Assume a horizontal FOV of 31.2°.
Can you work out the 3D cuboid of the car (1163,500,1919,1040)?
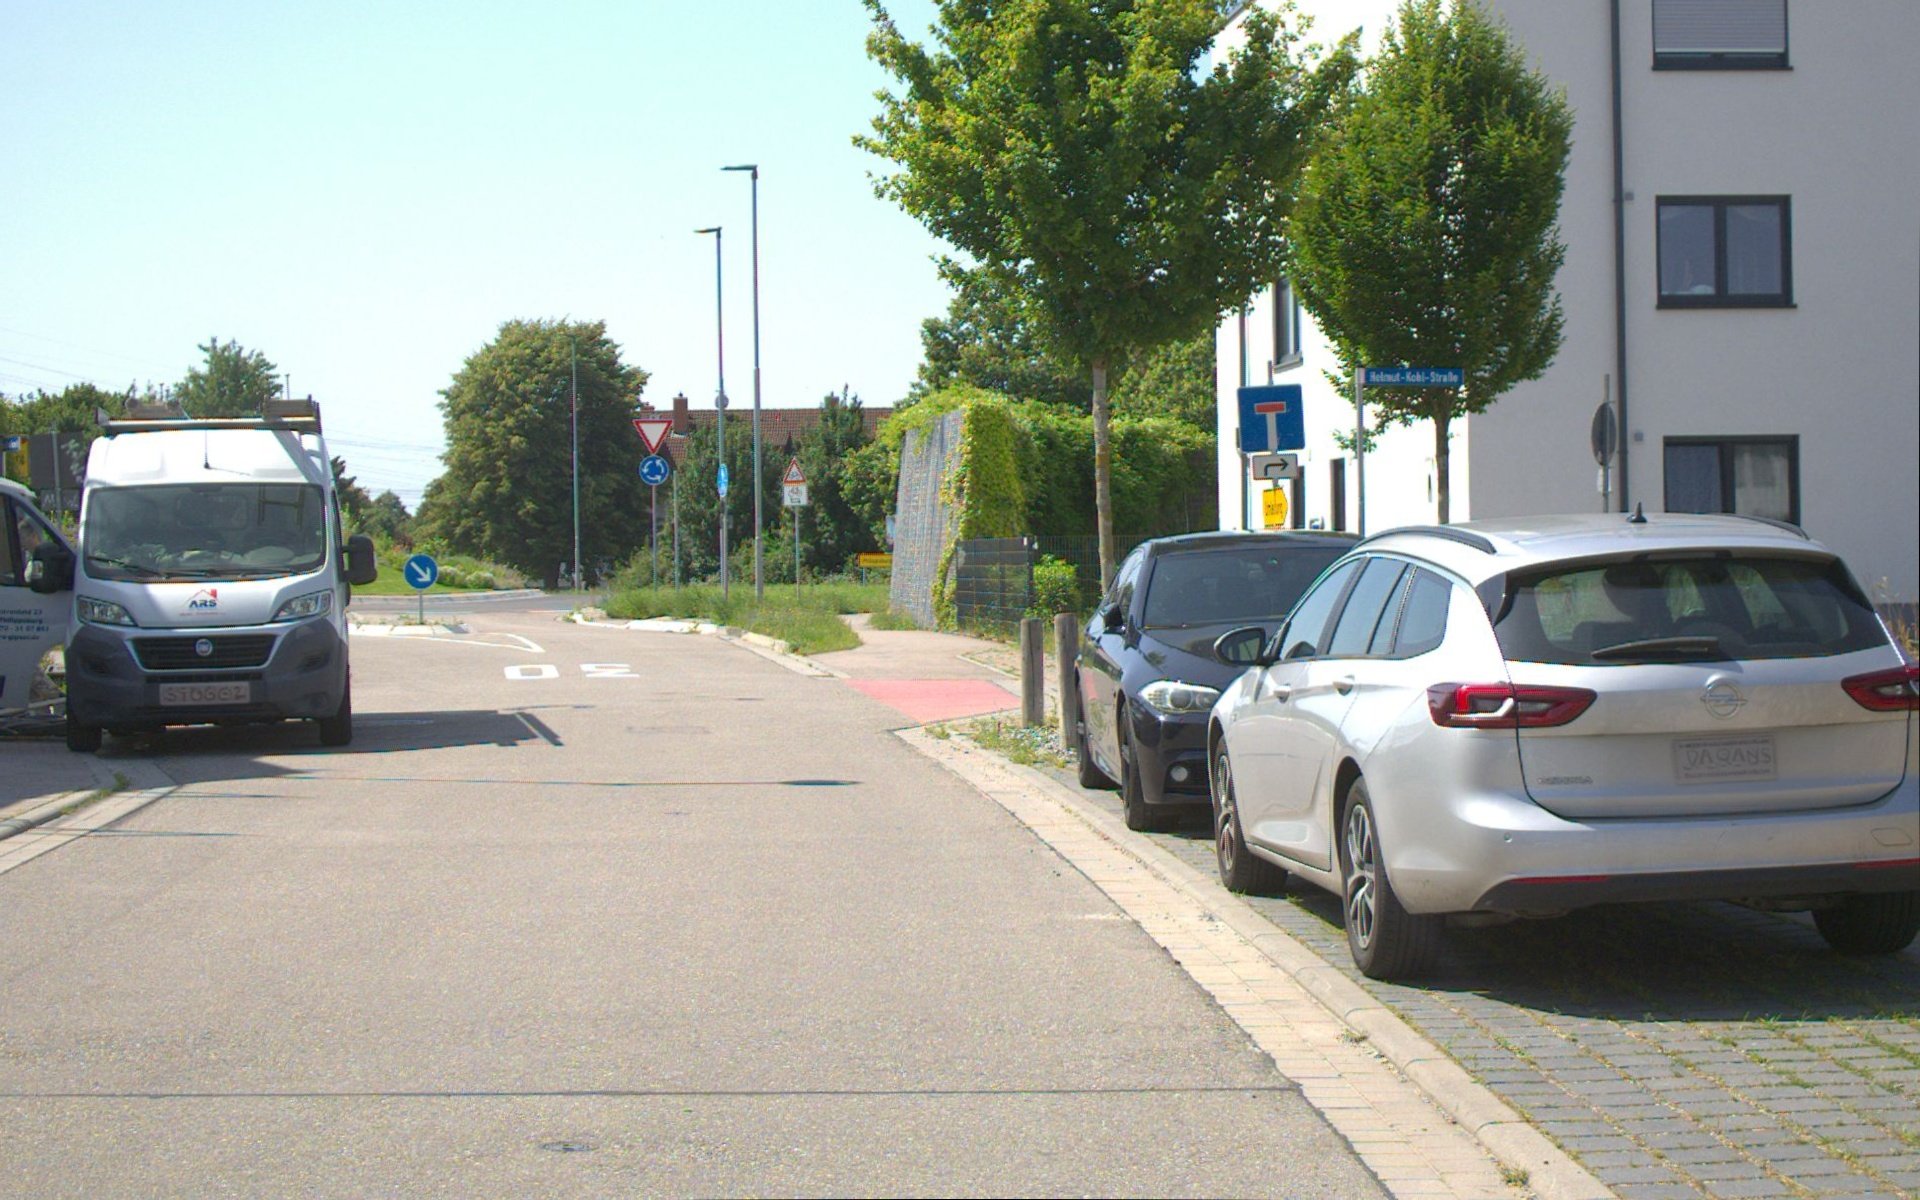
[{"bbox_3d":[2.075,0.423,12.717,1.918,1.506,5.296,-2,2,-4],"label":"car"}]

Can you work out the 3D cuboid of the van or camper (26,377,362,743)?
[{"bbox_3d":[-5.969,-0.304,27.418,2.272,2.544,6.369,-1,0,-10],"label":"van or camper"}]

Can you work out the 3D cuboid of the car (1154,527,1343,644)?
[{"bbox_3d":[3.752,-0.223,45.352,1.677,1.464,4.117,0,1,-7],"label":"car"}]

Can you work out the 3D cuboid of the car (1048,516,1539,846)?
[{"bbox_3d":[1.640,0.318,18.772,1.918,1.464,5.141,-2,2,-2],"label":"car"}]
